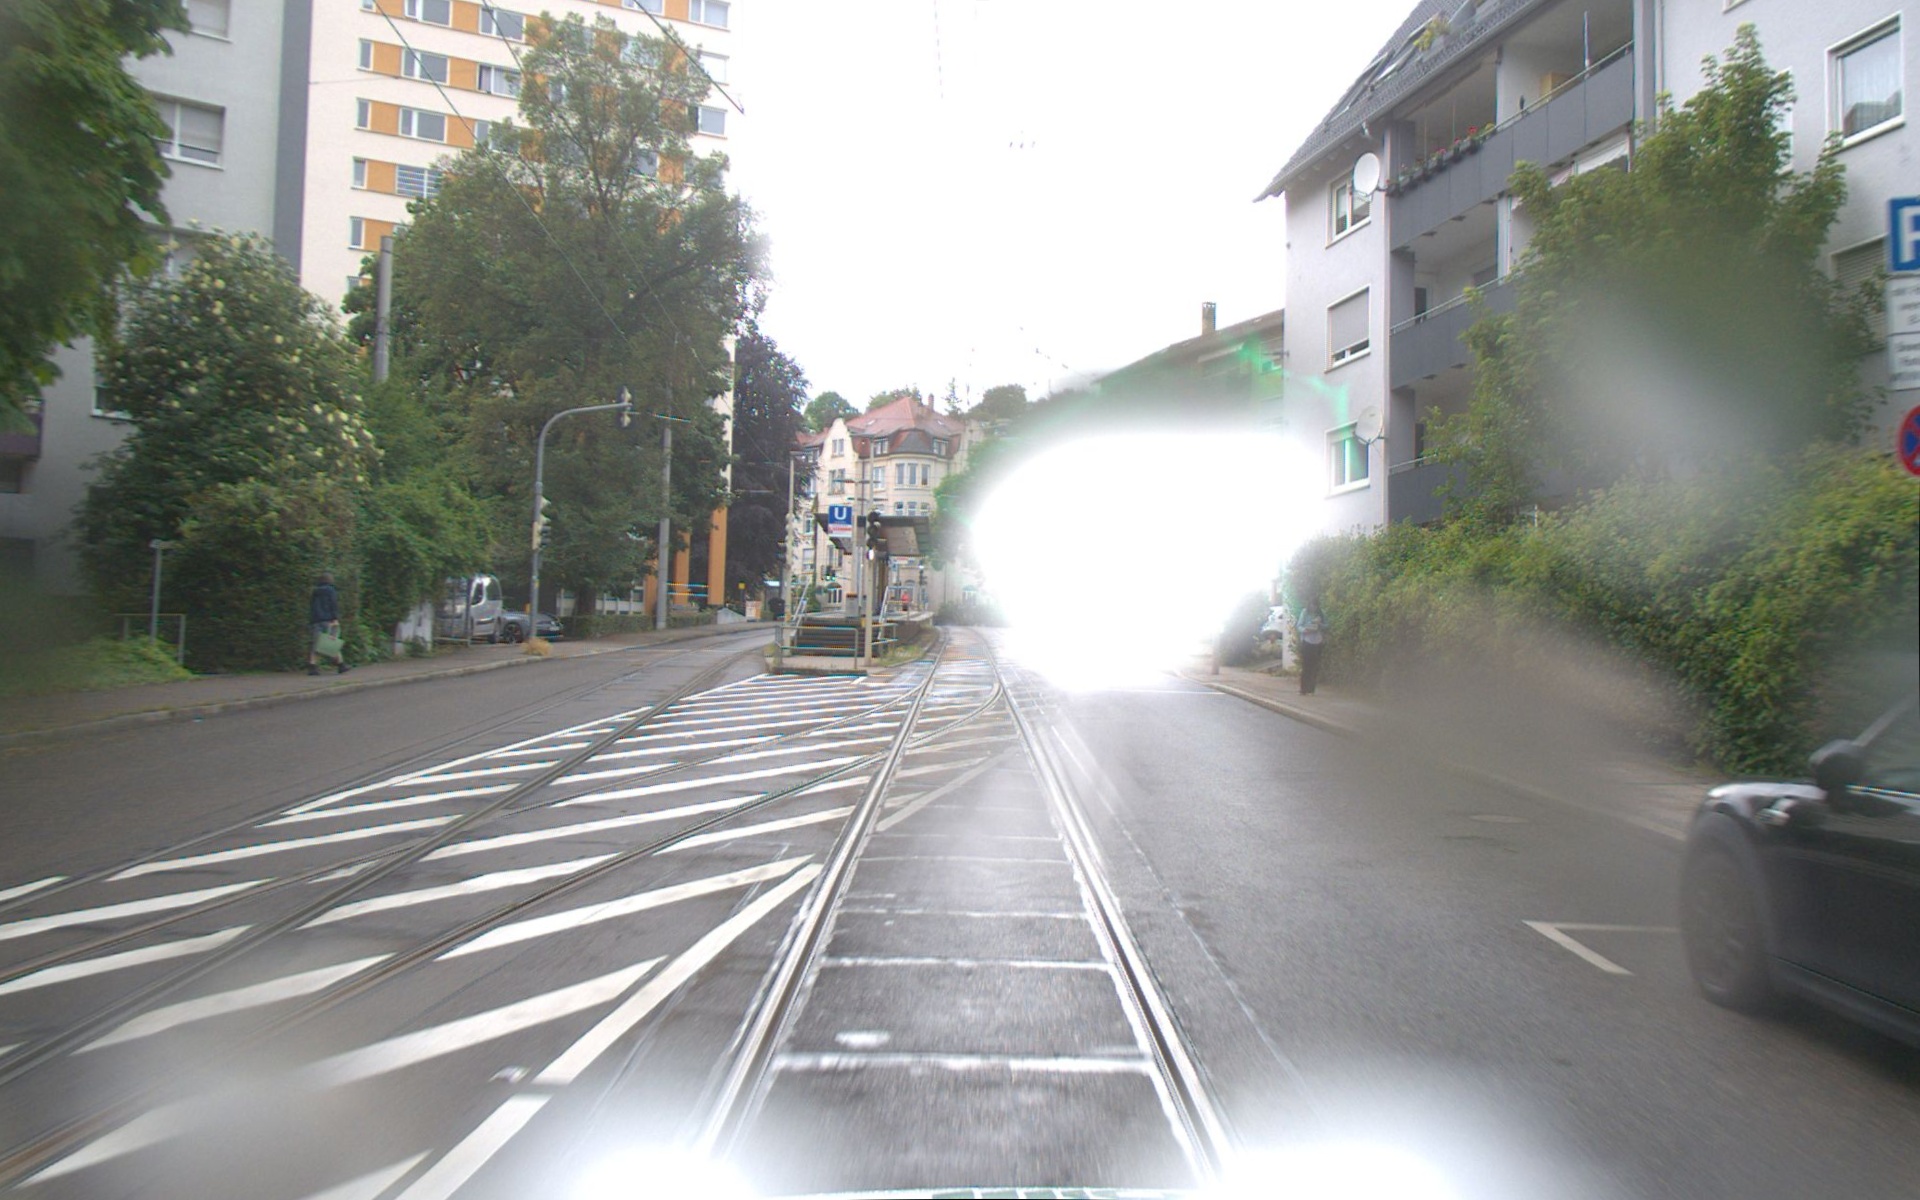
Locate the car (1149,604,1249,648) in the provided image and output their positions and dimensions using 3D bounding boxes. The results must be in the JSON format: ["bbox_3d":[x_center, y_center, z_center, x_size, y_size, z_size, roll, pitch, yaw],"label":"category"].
[{"bbox_3d":[9.770,1.071,67.814,3.764,1.570,1.807,2,-3,-1],"label":"car"}]

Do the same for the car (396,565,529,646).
[{"bbox_3d":[-12.704,0.185,42.485,1.952,1.714,4.000,2,-4,3],"label":"car"}]

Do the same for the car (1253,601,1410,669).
[{"bbox_3d":[10.310,0.999,46.098,3.906,1.674,1.807,2,-3,-1],"label":"car"}]

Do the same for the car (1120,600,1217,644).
[{"bbox_3d":[8.974,0.972,71.490,3.906,1.674,1.807,2,-3,-1],"label":"car"}]

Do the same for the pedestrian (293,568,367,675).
[{"bbox_3d":[-10.556,0.373,27.753,0.723,1.707,0.919,2,-4,6],"label":"pedestrian"}]

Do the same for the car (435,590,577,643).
[{"bbox_3d":[-13.830,0.501,50.423,3.906,1.431,1.682,0,-5,23],"label":"car"}]

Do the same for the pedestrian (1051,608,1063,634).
[{"bbox_3d":[5.725,1.225,98.084,0.567,1.492,0.543,3,-5,-8],"label":"pedestrian"}]

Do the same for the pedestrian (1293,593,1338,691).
[{"bbox_3d":[6.150,0.734,28.618,0.631,1.657,0.699,2,-2,4],"label":"pedestrian"}]

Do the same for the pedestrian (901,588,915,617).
[{"bbox_3d":[-2.792,0.142,88.631,0.643,1.492,0.772,2,-4,3],"label":"pedestrian"}]

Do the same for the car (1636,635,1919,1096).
[{"bbox_3d":[3.918,0.899,5.513,1.670,1.451,3.861,3,-1,-1],"label":"car"}]
